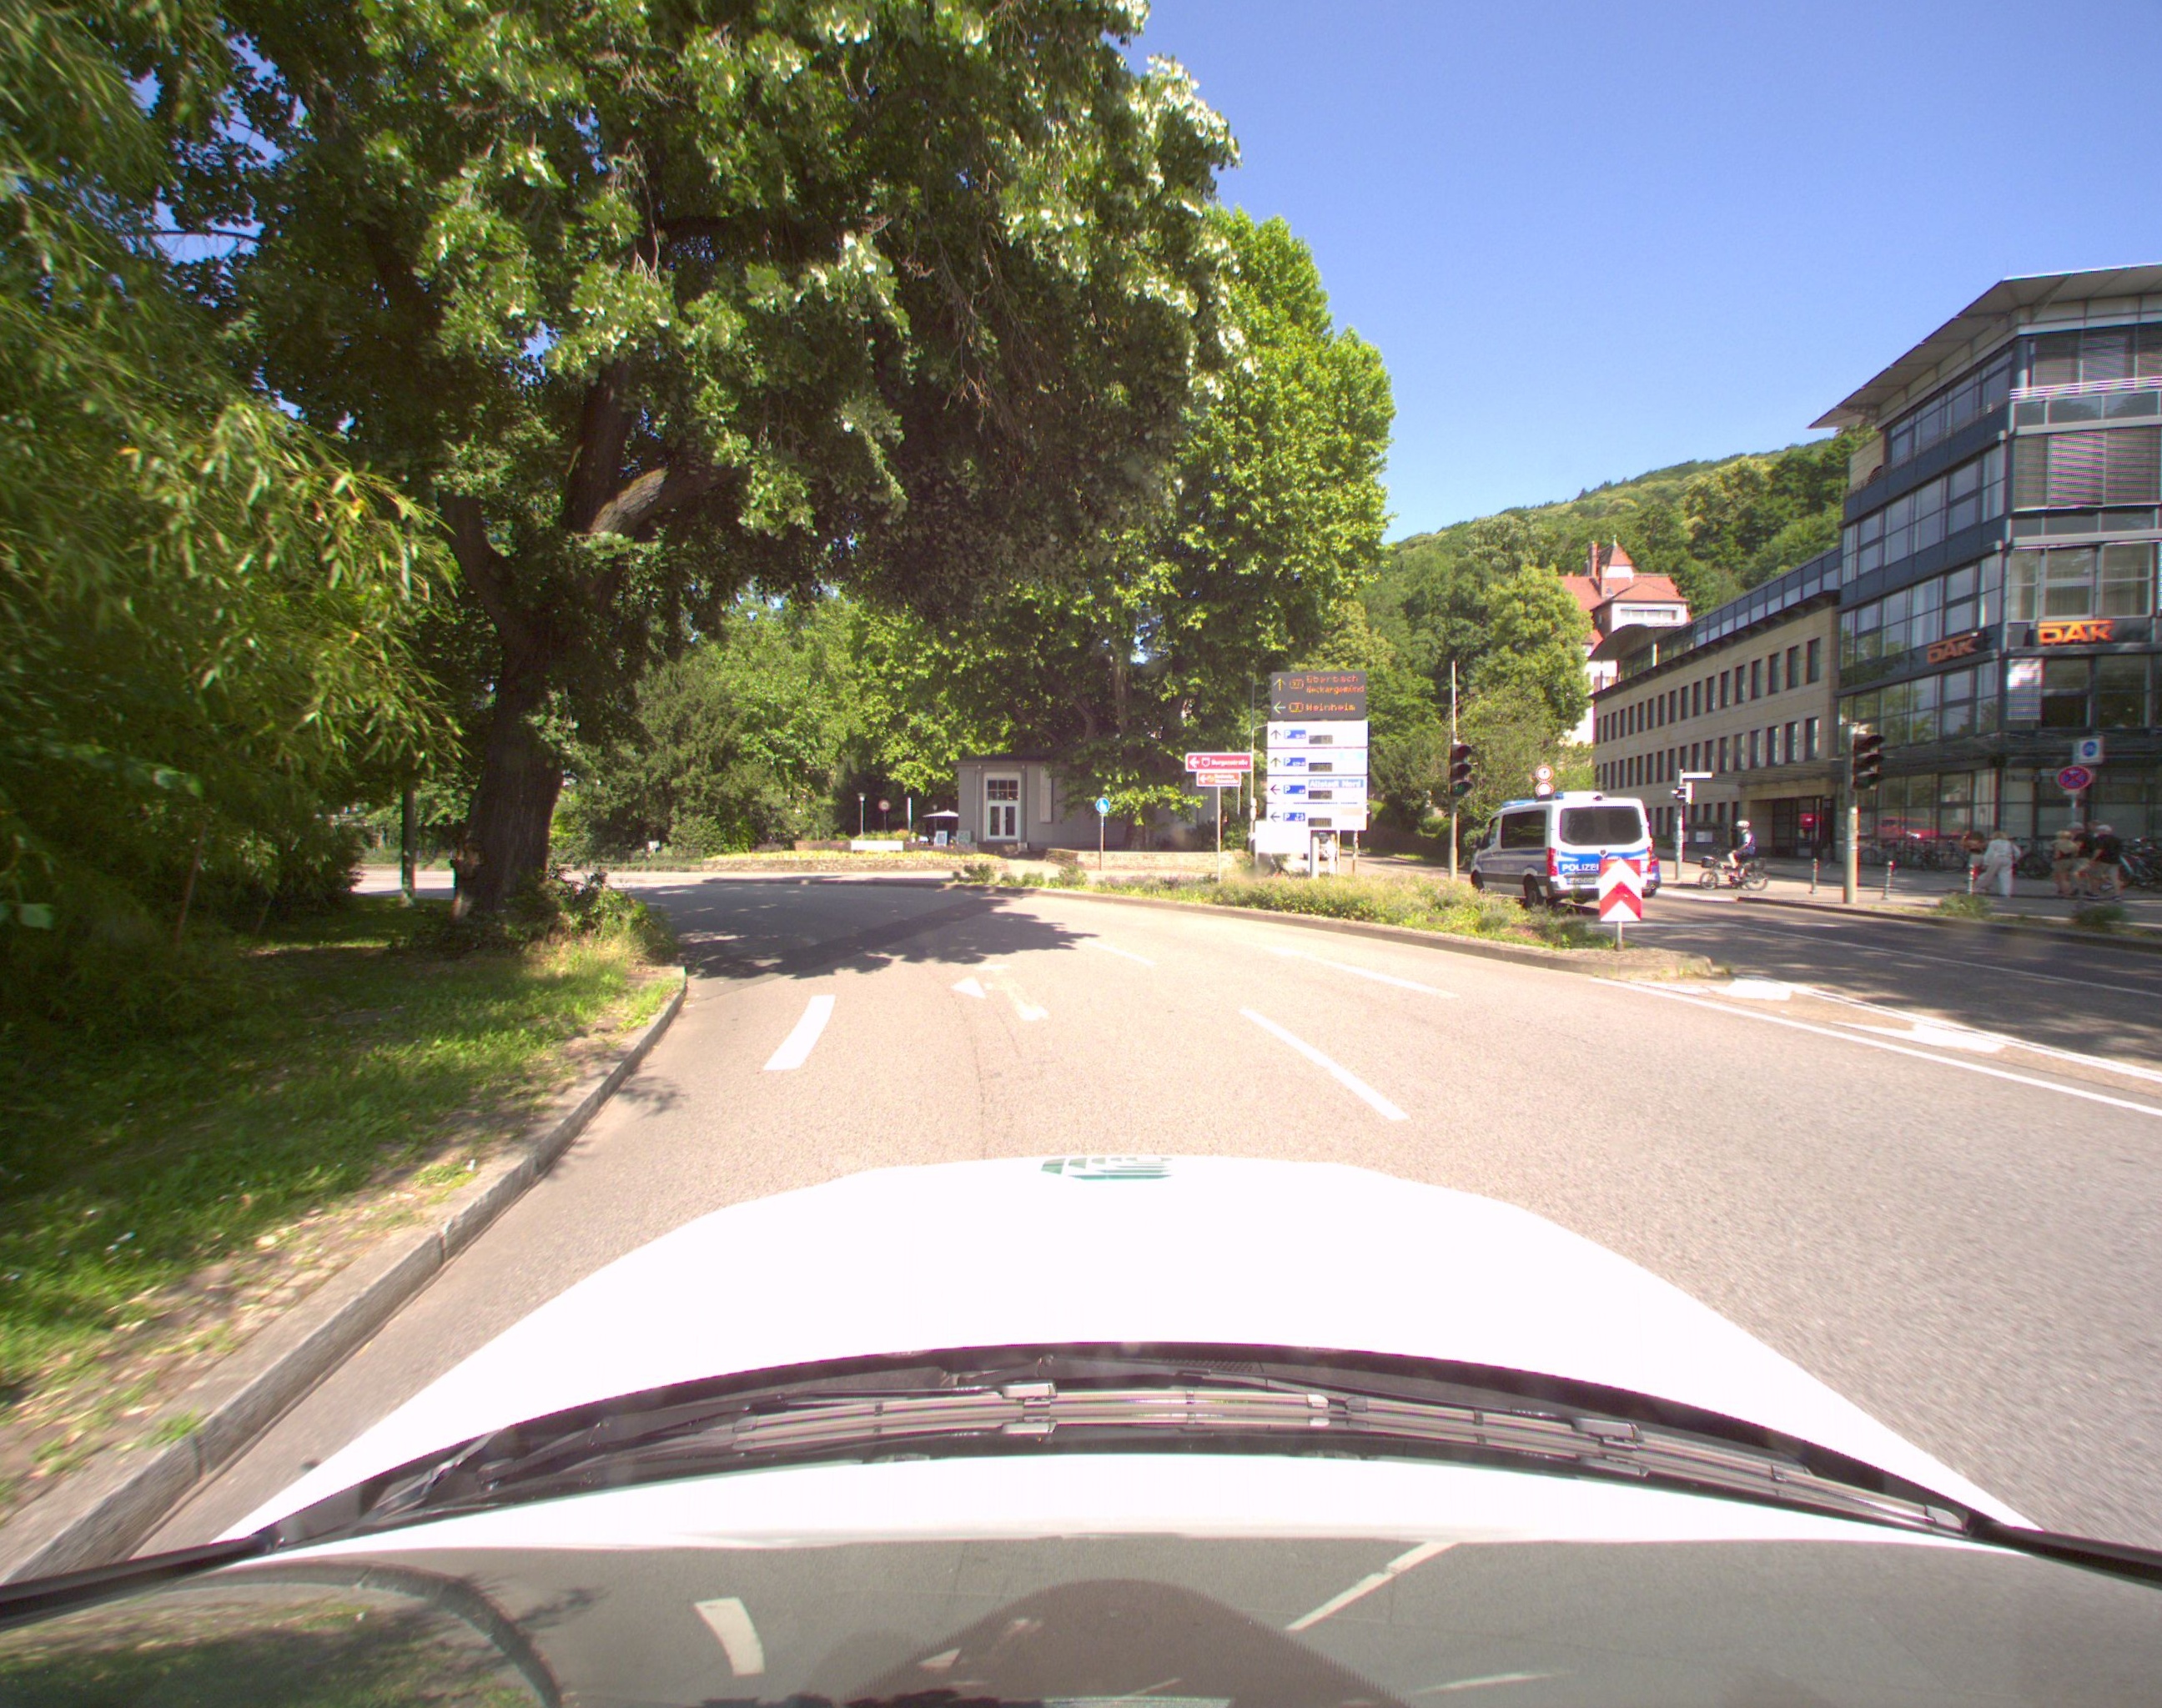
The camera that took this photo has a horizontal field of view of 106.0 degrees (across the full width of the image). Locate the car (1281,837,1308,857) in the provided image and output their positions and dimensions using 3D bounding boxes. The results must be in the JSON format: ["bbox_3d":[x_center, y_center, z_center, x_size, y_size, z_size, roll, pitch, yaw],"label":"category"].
[{"bbox_3d":[16.473,-0.577,62.973,1.745,1.461,3.505,1,1,11],"label":"car"}]

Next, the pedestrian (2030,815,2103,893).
[{"bbox_3d":[23.871,-0.017,19.740,0.765,1.854,0.833,1,1,17],"label":"pedestrian"}]

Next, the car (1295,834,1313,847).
[{"bbox_3d":[26.468,-1.621,96.761,1.745,1.461,3.657,1,1,11],"label":"car"}]

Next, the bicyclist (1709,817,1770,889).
[{"bbox_3d":[18.046,-0.035,22.347,1.116,1.932,0.752,1,1,24],"label":"bicyclist"}]

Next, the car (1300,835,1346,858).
[{"bbox_3d":[14.601,-0.490,49.360,1.750,1.334,3.803,0,1,1],"label":"car"}]

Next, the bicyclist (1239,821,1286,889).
[{"bbox_3d":[5.252,0.015,23.588,1.115,1.932,0.753,1,1,36],"label":"bicyclist"}]

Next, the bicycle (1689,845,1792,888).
[{"bbox_3d":[18.062,0.317,22.347,2.058,1.112,0.761,1,1,23],"label":"bicycle"}]

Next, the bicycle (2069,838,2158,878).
[{"bbox_3d":[29.039,0.084,22.943,0.533,1.085,1.842,0,1,13],"label":"bicycle"}]

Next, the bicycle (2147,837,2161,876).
[{"bbox_3d":[30.771,0.080,22.502,0.533,1.085,1.842,0,1,13],"label":"bicycle"}]

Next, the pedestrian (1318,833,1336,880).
[{"bbox_3d":[8.644,0.076,28.604,0.542,1.620,0.637,0,1,20],"label":"pedestrian"}]

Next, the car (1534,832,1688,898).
[{"bbox_3d":[14.063,0.210,21.935,1.710,1.541,4.280,1,2,6],"label":"car"}]

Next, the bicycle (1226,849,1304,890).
[{"bbox_3d":[5.303,0.429,23.554,2.056,1.112,0.762,1,1,36],"label":"bicycle"}]

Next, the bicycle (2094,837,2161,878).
[{"bbox_3d":[29.571,0.083,22.775,0.533,1.085,1.842,0,1,13],"label":"bicycle"}]

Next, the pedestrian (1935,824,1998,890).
[{"bbox_3d":[23.208,0.065,21.351,0.765,1.662,0.833,1,1,15],"label":"pedestrian"}]

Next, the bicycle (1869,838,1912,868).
[{"bbox_3d":[28.502,-0.056,28.689,0.402,1.012,1.346,0,1,12],"label":"bicycle"}]

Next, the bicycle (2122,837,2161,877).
[{"bbox_3d":[30.192,0.081,22.626,0.533,1.085,1.842,0,1,13],"label":"bicycle"}]

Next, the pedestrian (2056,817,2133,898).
[{"bbox_3d":[23.633,0.070,19.009,0.765,1.854,0.833,1,1,15],"label":"pedestrian"}]

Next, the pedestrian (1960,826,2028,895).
[{"bbox_3d":[22.680,0.153,20.244,0.766,1.662,0.832,1,1,12],"label":"pedestrian"}]

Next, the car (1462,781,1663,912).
[{"bbox_3d":[10.428,-0.191,18.179,2.062,2.508,4.940,1,1,7],"label":"car"}]

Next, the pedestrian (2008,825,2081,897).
[{"bbox_3d":[22.964,0.150,19.434,0.765,1.662,0.833,1,1,16],"label":"pedestrian"}]

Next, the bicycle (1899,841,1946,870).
[{"bbox_3d":[28.062,0.030,27.187,0.402,0.941,1.346,0,1,12],"label":"bicycle"}]
